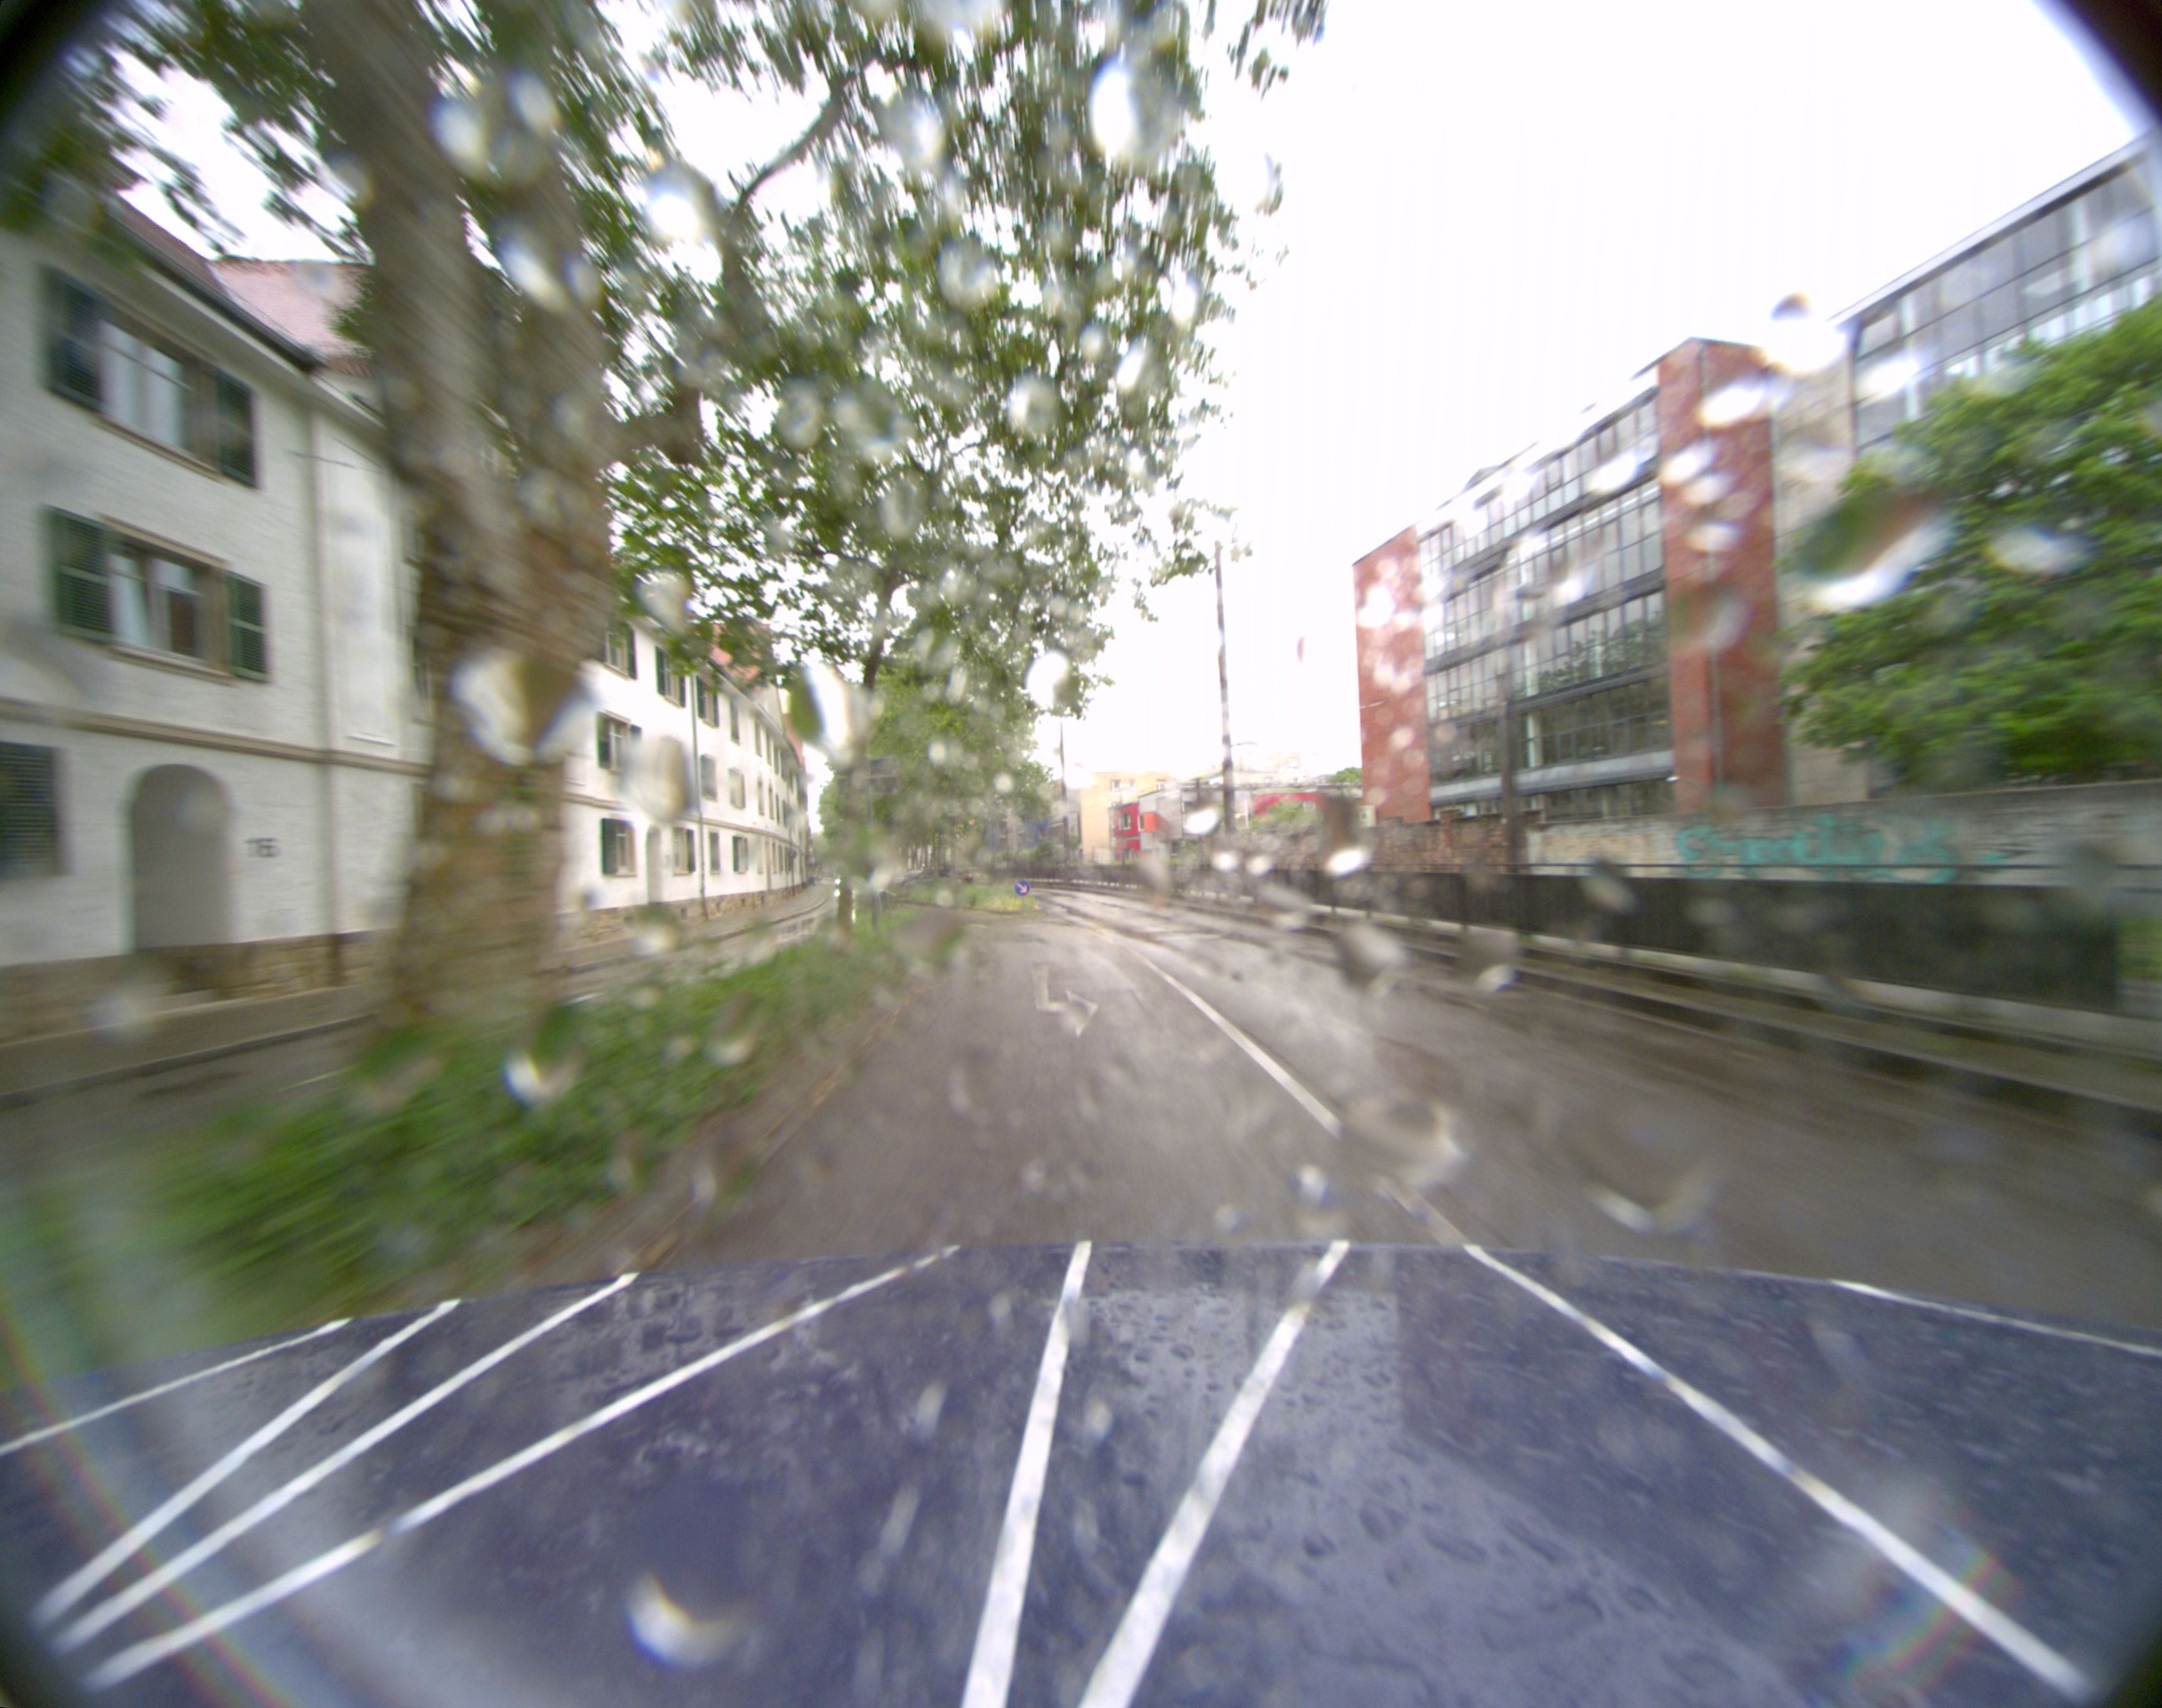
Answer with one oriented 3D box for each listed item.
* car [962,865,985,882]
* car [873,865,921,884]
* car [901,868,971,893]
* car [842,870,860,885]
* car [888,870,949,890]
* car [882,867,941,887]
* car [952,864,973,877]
[{"bbox_3d":[-11.210,2.025,79.243,1.694,1.713,3.686,-1,0,-19],"label":"car"},{"bbox_3d":[-21.090,2.351,87.232,4.884,2.002,2.002,-1,0,12],"label":"car"},{"bbox_3d":[-9.772,1.792,51.442,4.224,1.532,1.933,-1,0,12],"label":"car"},{"bbox_3d":[-26.379,2.648,87.138,1.853,1.586,4.210,-2,0,-17],"label":"car"},{"bbox_3d":[-12.706,2.030,59.560,4.326,1.499,1.750,-1,0,13],"label":"car"},{"bbox_3d":[-13.986,1.897,62.834,4.328,1.603,1.749,-1,0,7],"label":"car"},{"bbox_3d":[-13.524,1.871,86.712,1.694,1.439,3.994,-1,0,-19],"label":"car"}]
